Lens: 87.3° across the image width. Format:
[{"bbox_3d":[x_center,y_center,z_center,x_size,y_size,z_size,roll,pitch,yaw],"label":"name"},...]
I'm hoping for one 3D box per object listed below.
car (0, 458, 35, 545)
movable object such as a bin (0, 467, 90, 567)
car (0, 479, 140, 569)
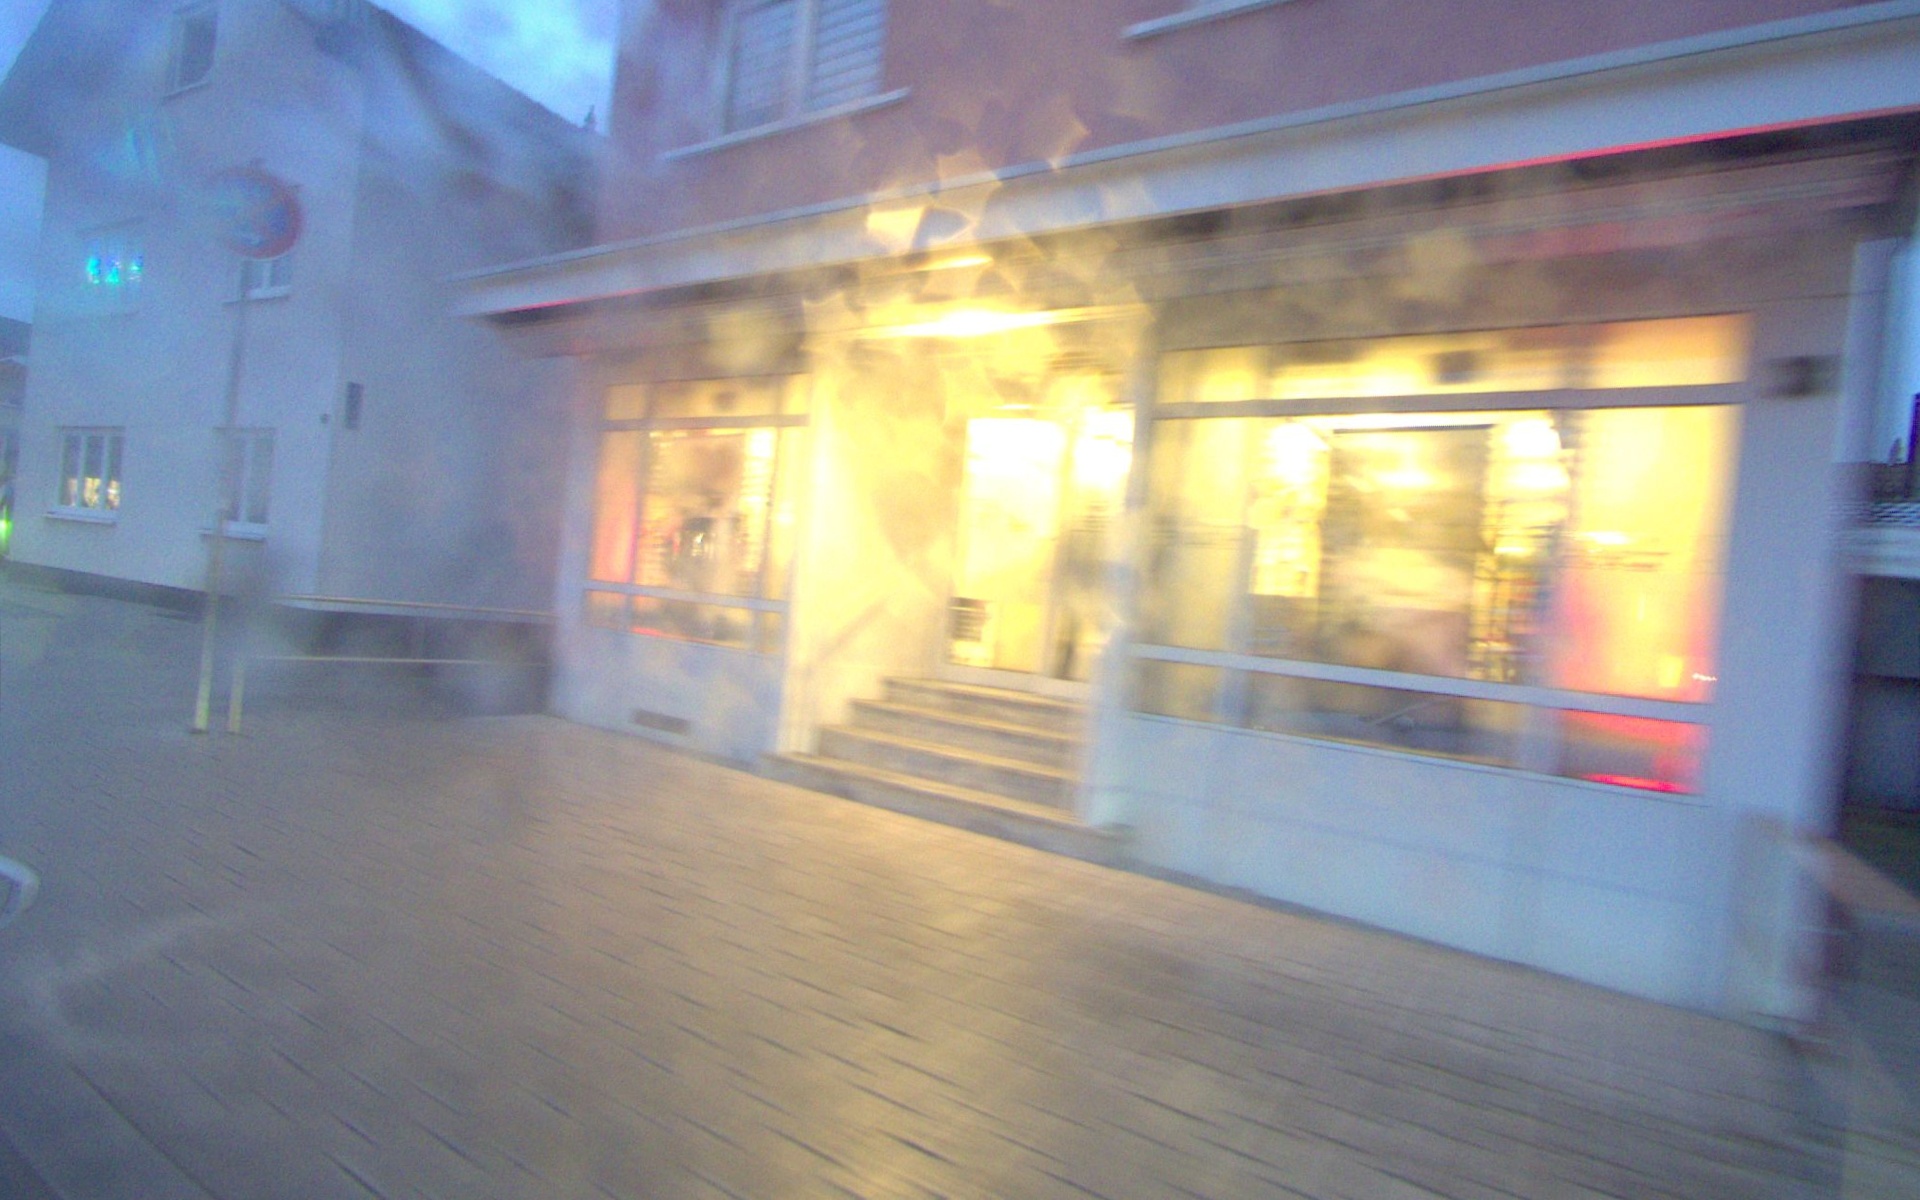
[{"bbox_3d":[-25.256,-2.627,24.264,1.972,2.076,4.082,7,1,41],"label":"car"},{"bbox_3d":[-16.832,-1.513,18.208,1.165,1.666,1.286,7,3,31],"label":"movable object such as a bin"},{"bbox_3d":[-18.862,-1.604,19.671,1.883,1.504,3.986,6,-1,36],"label":"car"}]
